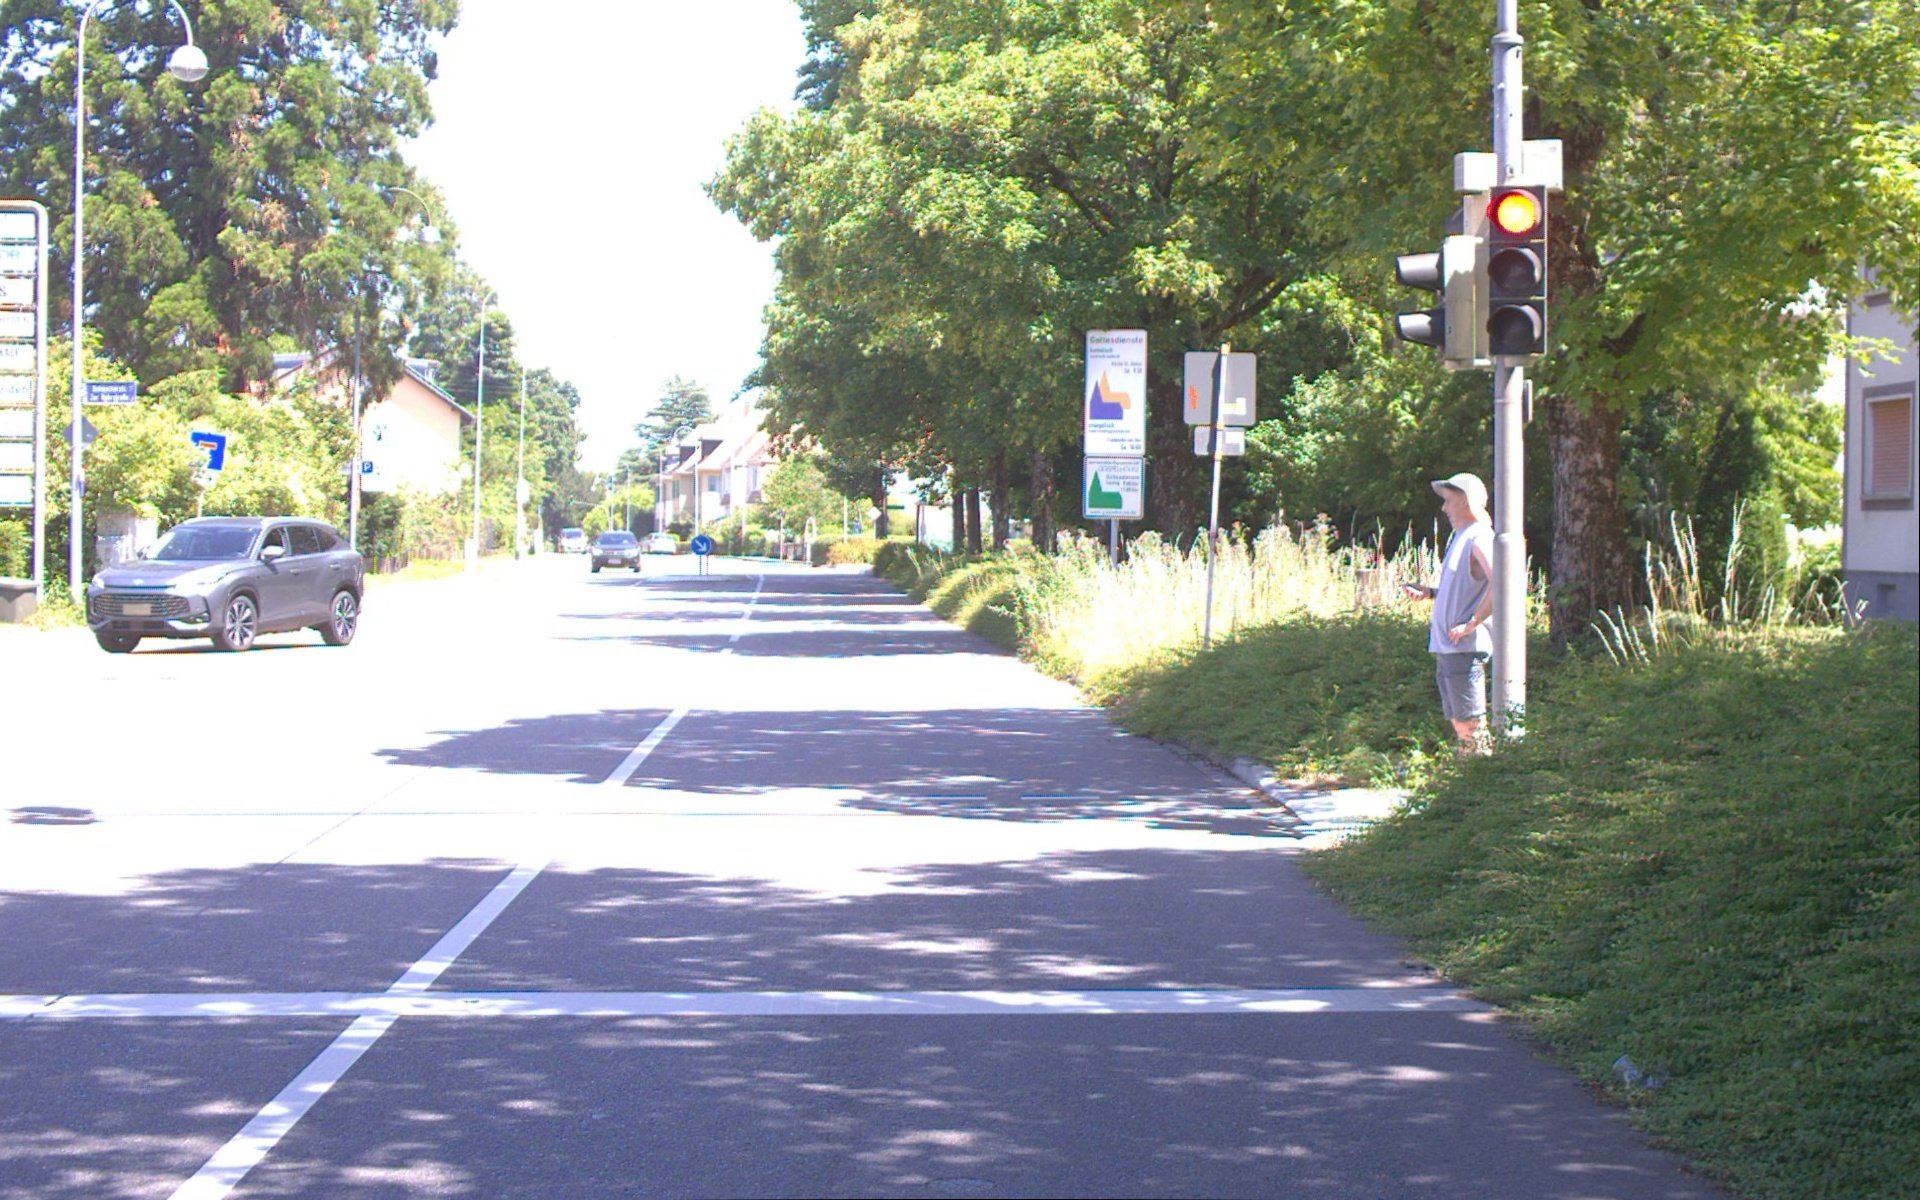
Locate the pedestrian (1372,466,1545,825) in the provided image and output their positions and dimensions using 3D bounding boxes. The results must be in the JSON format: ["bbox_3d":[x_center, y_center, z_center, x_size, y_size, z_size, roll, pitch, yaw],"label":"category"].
[{"bbox_3d":[2.476,0.216,17.094,0.560,1.745,0.615,0,1,-38],"label":"pedestrian"}]

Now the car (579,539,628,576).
[{"bbox_3d":[-12.984,-1.550,125.338,1.431,1.318,3.355,1,1,0],"label":"car"}]

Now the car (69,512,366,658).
[{"bbox_3d":[-9.186,-0.224,42.899,1.880,1.712,4.307,1,1,14],"label":"car"}]
